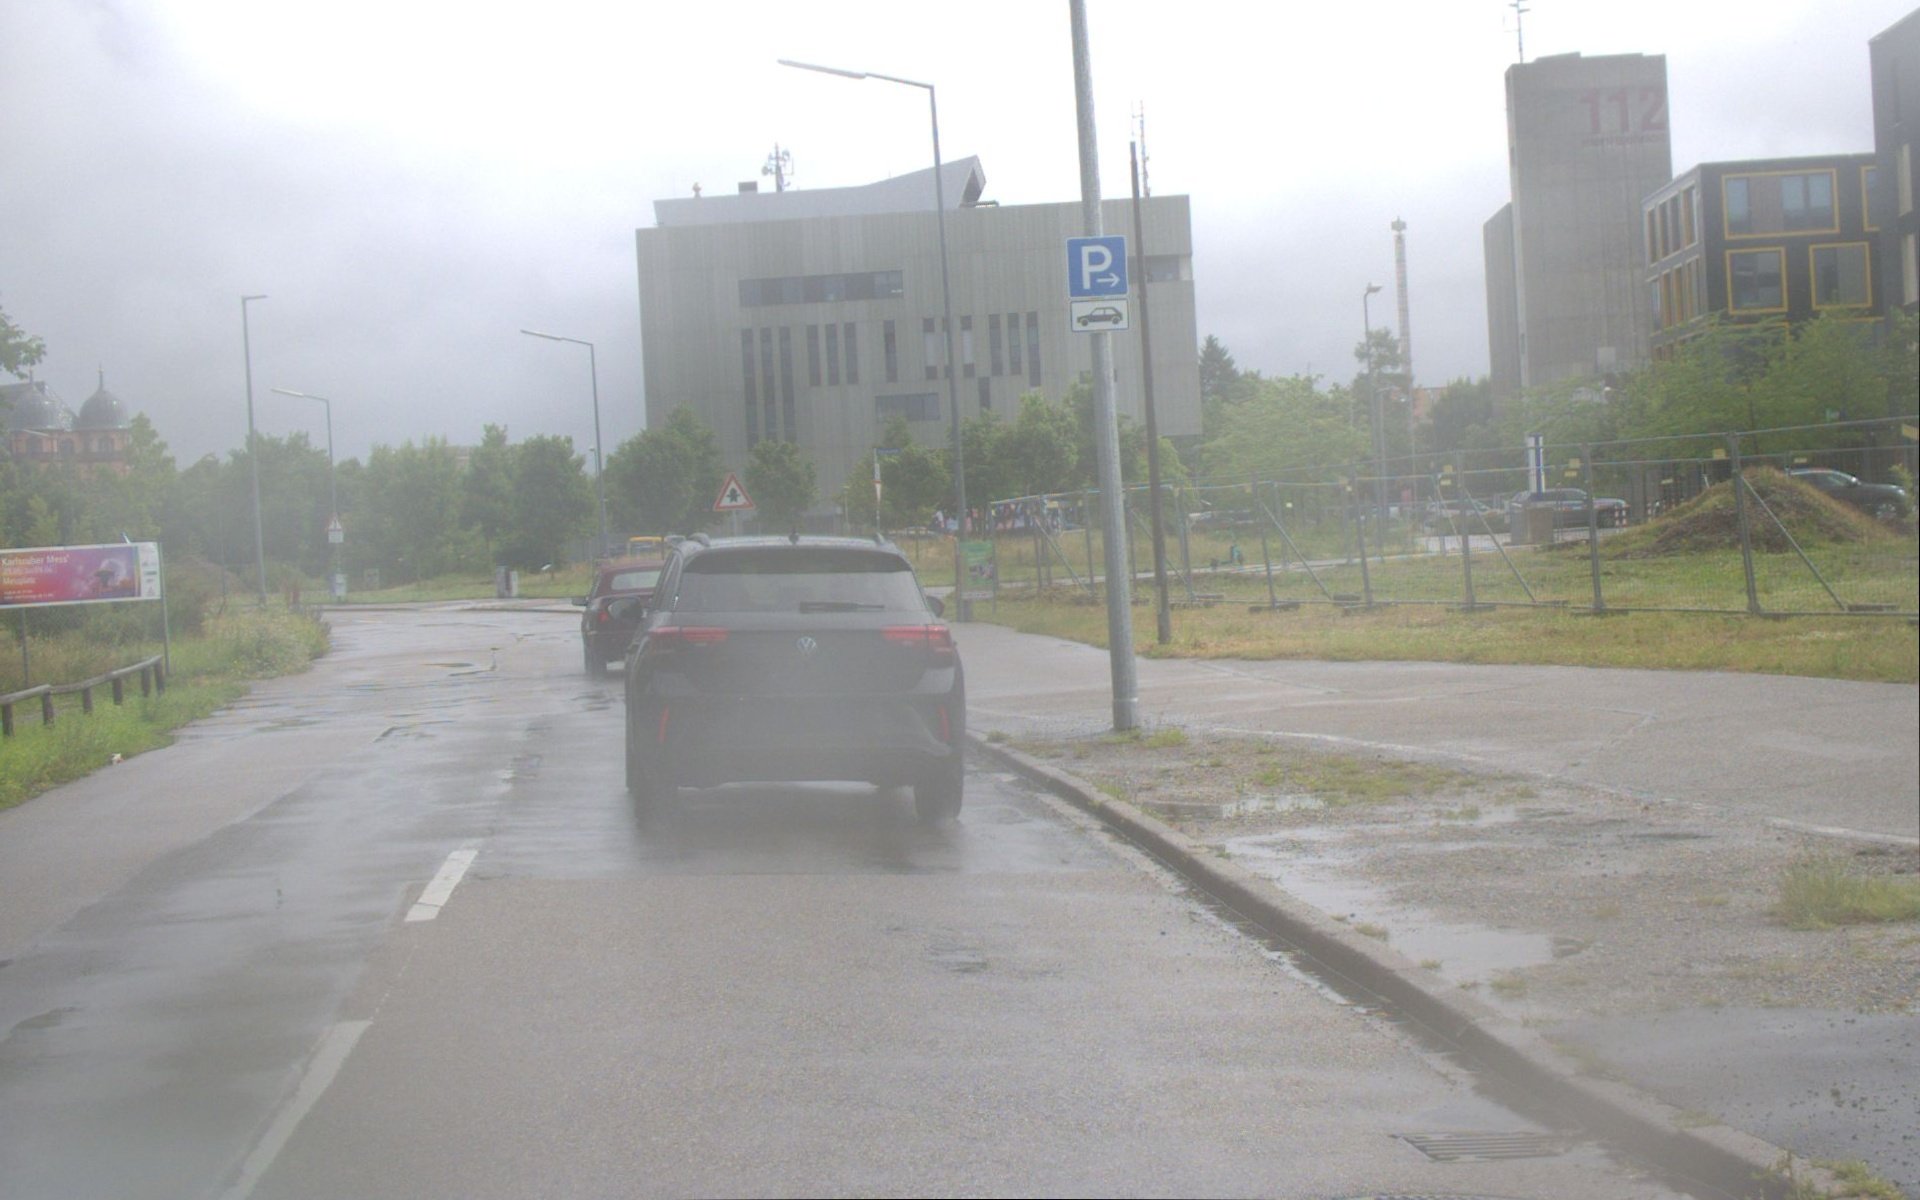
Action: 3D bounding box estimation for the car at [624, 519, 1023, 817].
[{"bbox_3d":[-0.888,0.300,19.667,1.986,1.515,4.001,0,1,-7],"label":"car"}]

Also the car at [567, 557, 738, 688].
[{"bbox_3d":[-4.047,0.251,44.767,1.841,1.437,4.001,-6,2,-8],"label":"car"}]
